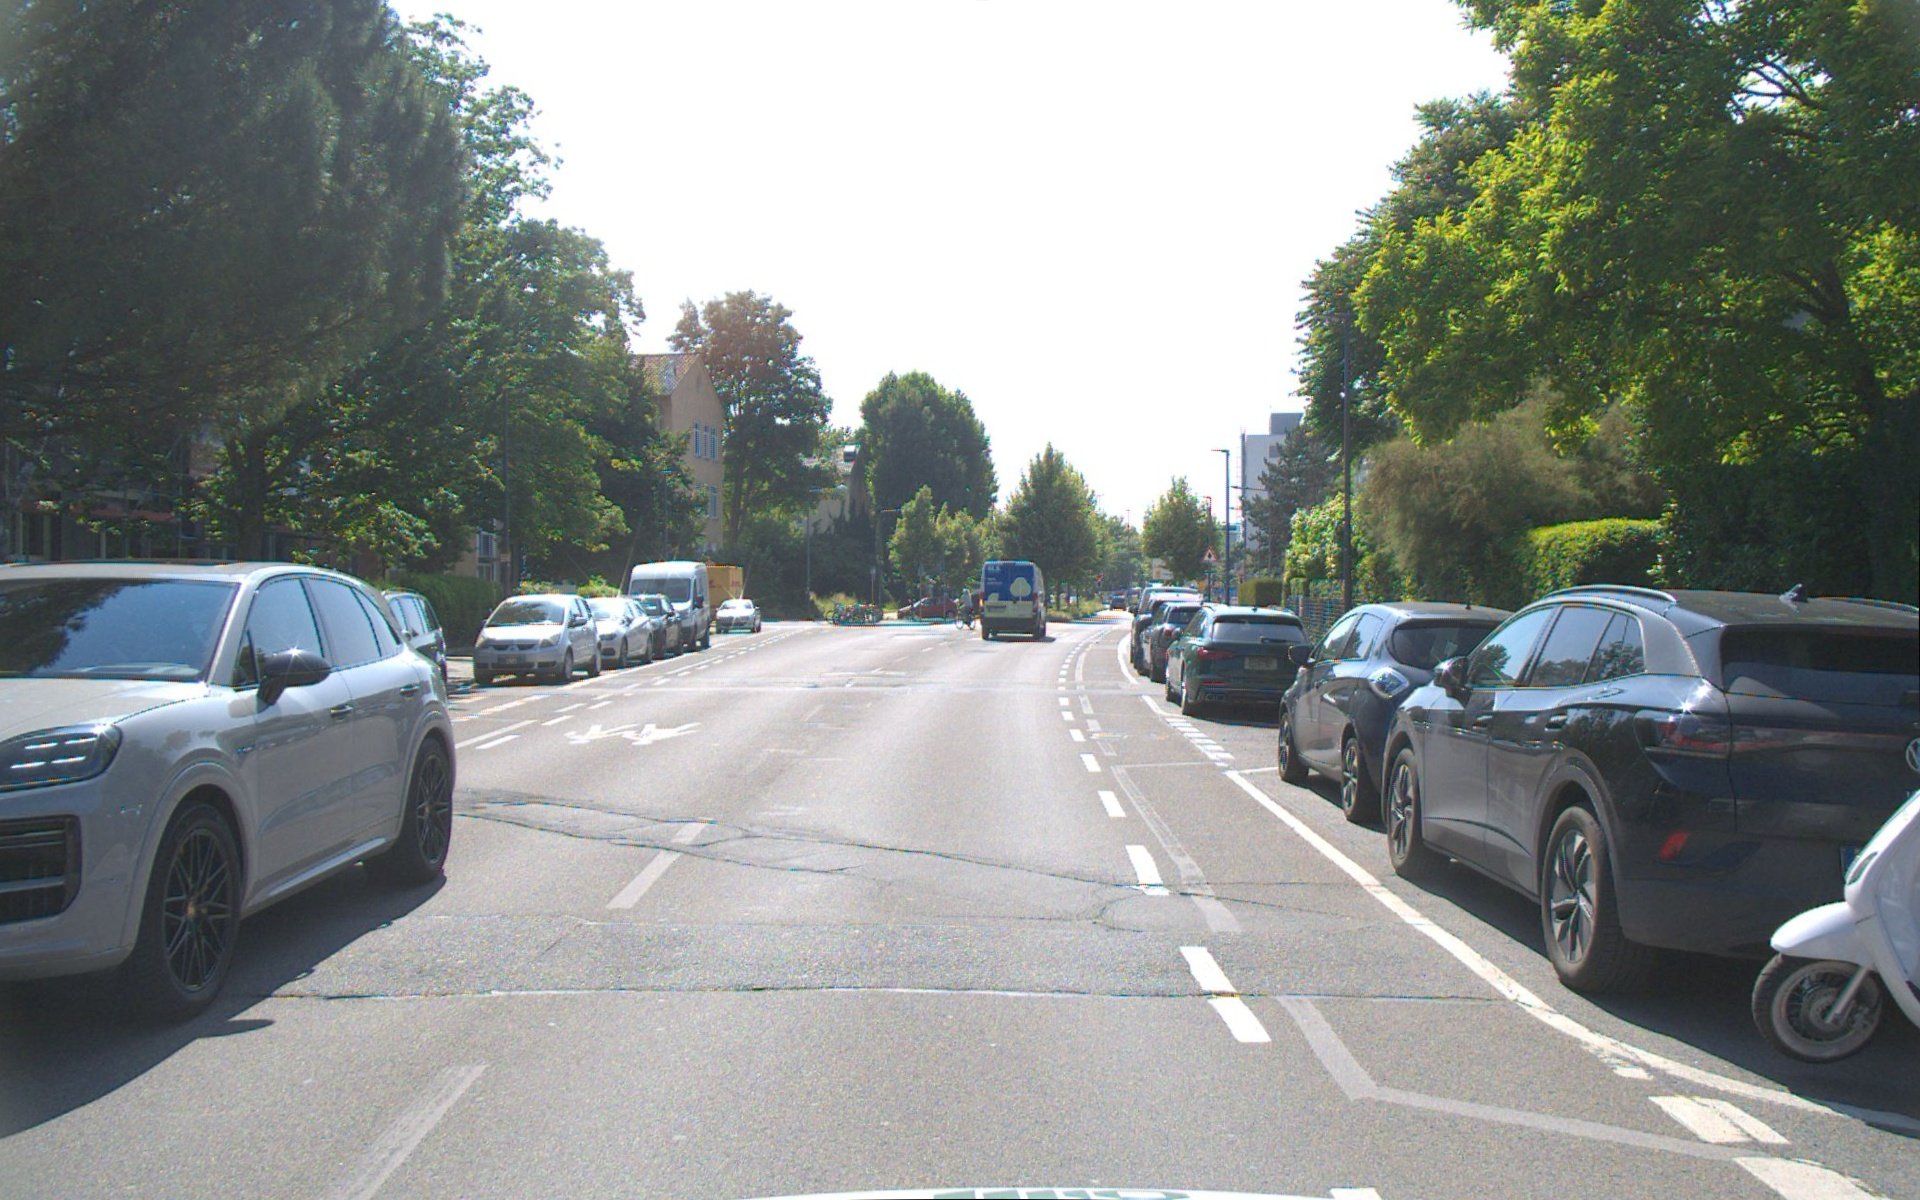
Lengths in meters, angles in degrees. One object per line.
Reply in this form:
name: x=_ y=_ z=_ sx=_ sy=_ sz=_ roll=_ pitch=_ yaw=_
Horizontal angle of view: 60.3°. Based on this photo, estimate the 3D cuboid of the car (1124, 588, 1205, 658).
car: x=5.201 y=0.560 z=42.391 sx=1.665 sy=1.706 sz=3.775 roll=0 pitch=0 yaw=1

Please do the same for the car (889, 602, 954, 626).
car: x=-2.442 y=0.894 z=104.794 sx=3.915 sy=1.516 sz=1.624 roll=0 pitch=0 yaw=-11

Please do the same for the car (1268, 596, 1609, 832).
car: x=3.641 y=0.776 z=13.296 sx=1.674 sy=1.540 sz=3.903 roll=2 pitch=0 yaw=2

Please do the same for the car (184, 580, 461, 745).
car: x=-7.377 y=0.654 z=19.625 sx=1.871 sy=1.706 sz=4.255 roll=-1 pitch=0 yaw=-4

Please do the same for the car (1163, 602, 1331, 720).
car: x=3.888 y=0.774 z=23.034 sx=1.747 sy=1.424 sz=4.325 roll=2 pitch=0 yaw=3

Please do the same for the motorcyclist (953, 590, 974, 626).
motorcyclist: x=0.148 y=0.339 z=70.612 sx=0.663 sy=1.545 sz=0.647 roll=0 pitch=-1 yaw=-24

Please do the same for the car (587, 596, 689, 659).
car: x=-8.019 y=0.653 z=41.455 sx=1.718 sy=1.522 sz=3.654 roll=0 pitch=0 yaw=2

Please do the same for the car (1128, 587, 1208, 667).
car: x=4.620 y=0.570 z=37.140 sx=1.664 sy=1.706 sz=3.777 roll=0 pitch=0 yaw=5

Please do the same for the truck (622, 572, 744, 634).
truck: x=-13.665 y=0.158 z=81.745 sx=5.546 sy=2.998 sz=2.223 roll=0 pitch=0 yaw=7

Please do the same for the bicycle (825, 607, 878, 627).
bicycle: x=-5.568 y=0.863 z=84.620 sx=2.616 sy=1.044 sz=1.023 roll=0 pitch=0 yaw=-10

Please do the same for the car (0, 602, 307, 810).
car: x=-7.159 y=0.781 z=14.065 sx=1.745 sy=1.485 sz=4.083 roll=-1 pitch=0 yaw=-3

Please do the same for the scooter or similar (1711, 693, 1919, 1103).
scooter or similar: x=3.347 y=0.946 z=5.022 sx=1.766 sy=1.174 sz=0.715 roll=4 pitch=0 yaw=43

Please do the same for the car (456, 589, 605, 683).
car: x=-7.855 y=0.635 z=30.563 sx=1.797 sy=1.623 sz=3.774 roll=0 pitch=-1 yaw=-1

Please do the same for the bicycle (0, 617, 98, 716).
bicycle: x=-11.482 y=0.805 z=20.688 sx=0.365 sy=1.166 sz=1.977 roll=0 pitch=0 yaw=0

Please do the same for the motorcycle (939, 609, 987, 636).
motorcycle: x=0.116 y=0.952 z=70.701 sx=1.041 sy=1.142 sz=2.972 roll=0 pitch=0 yaw=-22

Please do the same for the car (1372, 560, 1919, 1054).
car: x=3.411 y=0.722 z=7.905 sx=1.748 sy=1.667 sz=4.470 roll=2 pitch=0 yaw=0

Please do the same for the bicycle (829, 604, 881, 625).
bicycle: x=-5.497 y=0.762 z=86.910 sx=2.639 sy=1.066 sz=1.023 roll=0 pitch=0 yaw=-10

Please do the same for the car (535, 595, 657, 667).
car: x=-7.995 y=0.648 z=36.612 sx=1.797 sy=1.522 sz=3.655 roll=0 pitch=0 yaw=2

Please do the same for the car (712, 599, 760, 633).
car: x=-9.370 y=0.662 z=69.408 sx=1.719 sy=1.367 sz=3.651 roll=0 pitch=0 yaw=-3

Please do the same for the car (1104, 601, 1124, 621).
car: x=16.007 y=1.109 z=171.869 sx=1.868 sy=2.049 sz=4.001 roll=0 pitch=0 yaw=3

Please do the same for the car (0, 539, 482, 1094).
car: x=-3.697 y=0.655 z=7.307 sx=1.953 sy=1.686 sz=4.603 roll=0 pitch=0 yaw=-2

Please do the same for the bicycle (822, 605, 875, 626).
bicycle: x=-5.768 y=0.787 z=85.740 sx=2.639 sy=1.066 sz=1.023 roll=0 pitch=0 yaw=-10

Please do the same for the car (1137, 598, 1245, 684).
car: x=4.332 y=0.720 z=31.521 sx=1.747 sy=1.424 sz=4.125 roll=1 pitch=1 yaw=4

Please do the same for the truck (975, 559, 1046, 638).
truck: x=1.795 y=-0.037 z=57.488 sx=2.224 sy=2.616 sz=4.394 roll=0 pitch=0 yaw=5

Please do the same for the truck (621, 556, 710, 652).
truck: x=-8.406 y=0.095 z=47.634 sx=2.040 sy=2.581 sz=5.461 roll=0 pitch=0 yaw=-5
